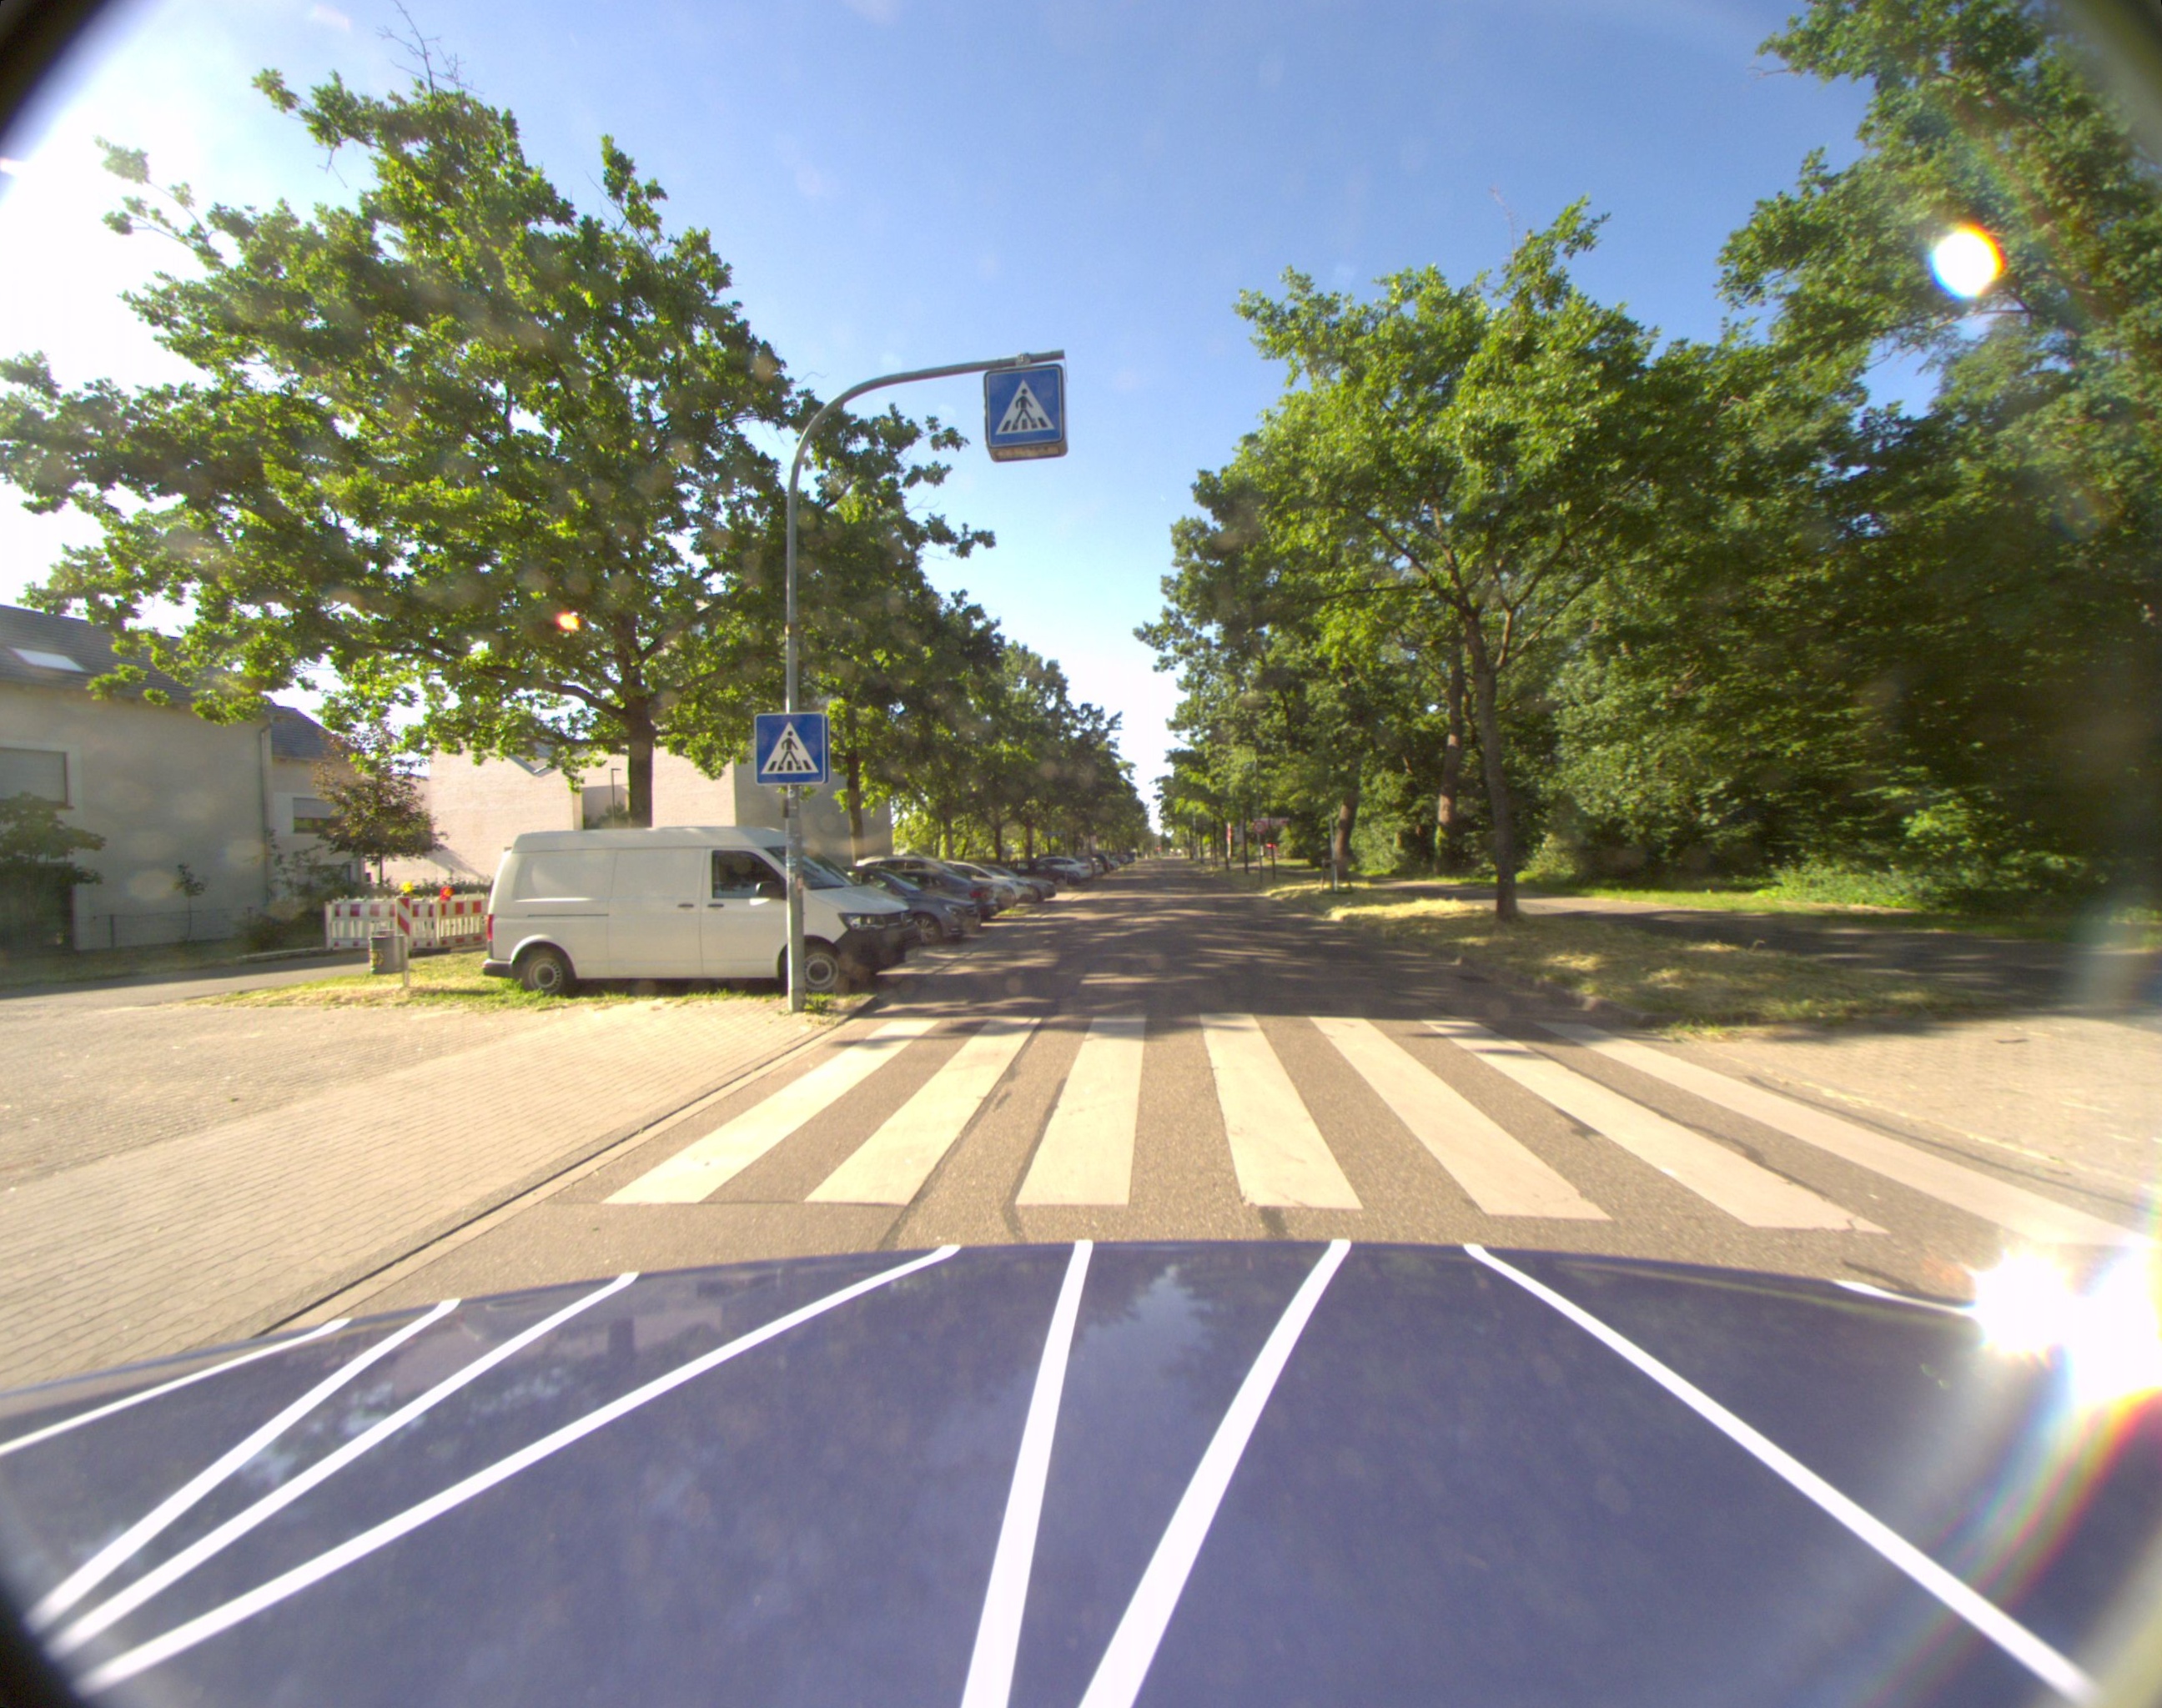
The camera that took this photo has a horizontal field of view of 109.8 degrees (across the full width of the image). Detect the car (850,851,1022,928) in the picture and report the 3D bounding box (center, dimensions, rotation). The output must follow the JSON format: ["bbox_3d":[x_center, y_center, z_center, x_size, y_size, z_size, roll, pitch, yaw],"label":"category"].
[{"bbox_3d":[-3.750,0.913,20.014,4.017,1.783,1.713,-3,0,7],"label":"car"}]

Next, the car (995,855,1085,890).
[{"bbox_3d":[-2.101,0.956,39.657,4.393,1.632,1.533,-3,0,7],"label":"car"}]

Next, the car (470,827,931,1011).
[{"bbox_3d":[-4.722,0.791,9.857,5.043,2.069,1.891,-1,0,5],"label":"car"}]

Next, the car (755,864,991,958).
[{"bbox_3d":[-3.973,1.080,14.864,3.995,1.554,1.758,-3,0,7],"label":"car"}]

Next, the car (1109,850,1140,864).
[{"bbox_3d":[6.238,0.404,108.399,4.149,1.838,1.950,-3,0,6],"label":"car"}]

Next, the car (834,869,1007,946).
[{"bbox_3d":[-3.631,1.207,17.442,3.514,1.533,1.449,-3,0,7],"label":"car"}]

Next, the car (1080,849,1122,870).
[{"bbox_3d":[2.052,0.547,76.401,3.995,1.838,1.864,-3,0,6],"label":"car"}]

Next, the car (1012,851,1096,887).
[{"bbox_3d":[-1.490,0.827,42.289,4.393,1.733,1.533,-3,0,7],"label":"car"}]

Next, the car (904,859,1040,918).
[{"bbox_3d":[-3.491,1.097,24.606,4.017,1.669,1.533,-3,0,7],"label":"car"}]

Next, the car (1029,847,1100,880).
[{"bbox_3d":[-1.036,0.604,50.033,4.393,1.977,1.533,-3,0,7],"label":"car"}]

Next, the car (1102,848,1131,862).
[{"bbox_3d":[5.290,0.108,113.569,4.149,1.838,1.950,-3,0,6],"label":"car"}]

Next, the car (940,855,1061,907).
[{"bbox_3d":[-2.887,0.966,27.559,4.017,1.650,1.533,-3,0,7],"label":"car"}]

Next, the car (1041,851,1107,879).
[{"bbox_3d":[-0.491,0.762,53.875,4.393,1.733,1.533,-3,0,7],"label":"car"}]

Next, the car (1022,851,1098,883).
[{"bbox_3d":[-1.253,0.761,46.651,4.393,1.733,1.533,-3,0,7],"label":"car"}]

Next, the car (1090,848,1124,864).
[{"bbox_3d":[3.320,0.196,97.298,4.149,1.838,1.950,-3,0,6],"label":"car"}]

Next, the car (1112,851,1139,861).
[{"bbox_3d":[6.925,0.353,118.401,4.149,1.401,1.801,-3,0,6],"label":"car"}]
